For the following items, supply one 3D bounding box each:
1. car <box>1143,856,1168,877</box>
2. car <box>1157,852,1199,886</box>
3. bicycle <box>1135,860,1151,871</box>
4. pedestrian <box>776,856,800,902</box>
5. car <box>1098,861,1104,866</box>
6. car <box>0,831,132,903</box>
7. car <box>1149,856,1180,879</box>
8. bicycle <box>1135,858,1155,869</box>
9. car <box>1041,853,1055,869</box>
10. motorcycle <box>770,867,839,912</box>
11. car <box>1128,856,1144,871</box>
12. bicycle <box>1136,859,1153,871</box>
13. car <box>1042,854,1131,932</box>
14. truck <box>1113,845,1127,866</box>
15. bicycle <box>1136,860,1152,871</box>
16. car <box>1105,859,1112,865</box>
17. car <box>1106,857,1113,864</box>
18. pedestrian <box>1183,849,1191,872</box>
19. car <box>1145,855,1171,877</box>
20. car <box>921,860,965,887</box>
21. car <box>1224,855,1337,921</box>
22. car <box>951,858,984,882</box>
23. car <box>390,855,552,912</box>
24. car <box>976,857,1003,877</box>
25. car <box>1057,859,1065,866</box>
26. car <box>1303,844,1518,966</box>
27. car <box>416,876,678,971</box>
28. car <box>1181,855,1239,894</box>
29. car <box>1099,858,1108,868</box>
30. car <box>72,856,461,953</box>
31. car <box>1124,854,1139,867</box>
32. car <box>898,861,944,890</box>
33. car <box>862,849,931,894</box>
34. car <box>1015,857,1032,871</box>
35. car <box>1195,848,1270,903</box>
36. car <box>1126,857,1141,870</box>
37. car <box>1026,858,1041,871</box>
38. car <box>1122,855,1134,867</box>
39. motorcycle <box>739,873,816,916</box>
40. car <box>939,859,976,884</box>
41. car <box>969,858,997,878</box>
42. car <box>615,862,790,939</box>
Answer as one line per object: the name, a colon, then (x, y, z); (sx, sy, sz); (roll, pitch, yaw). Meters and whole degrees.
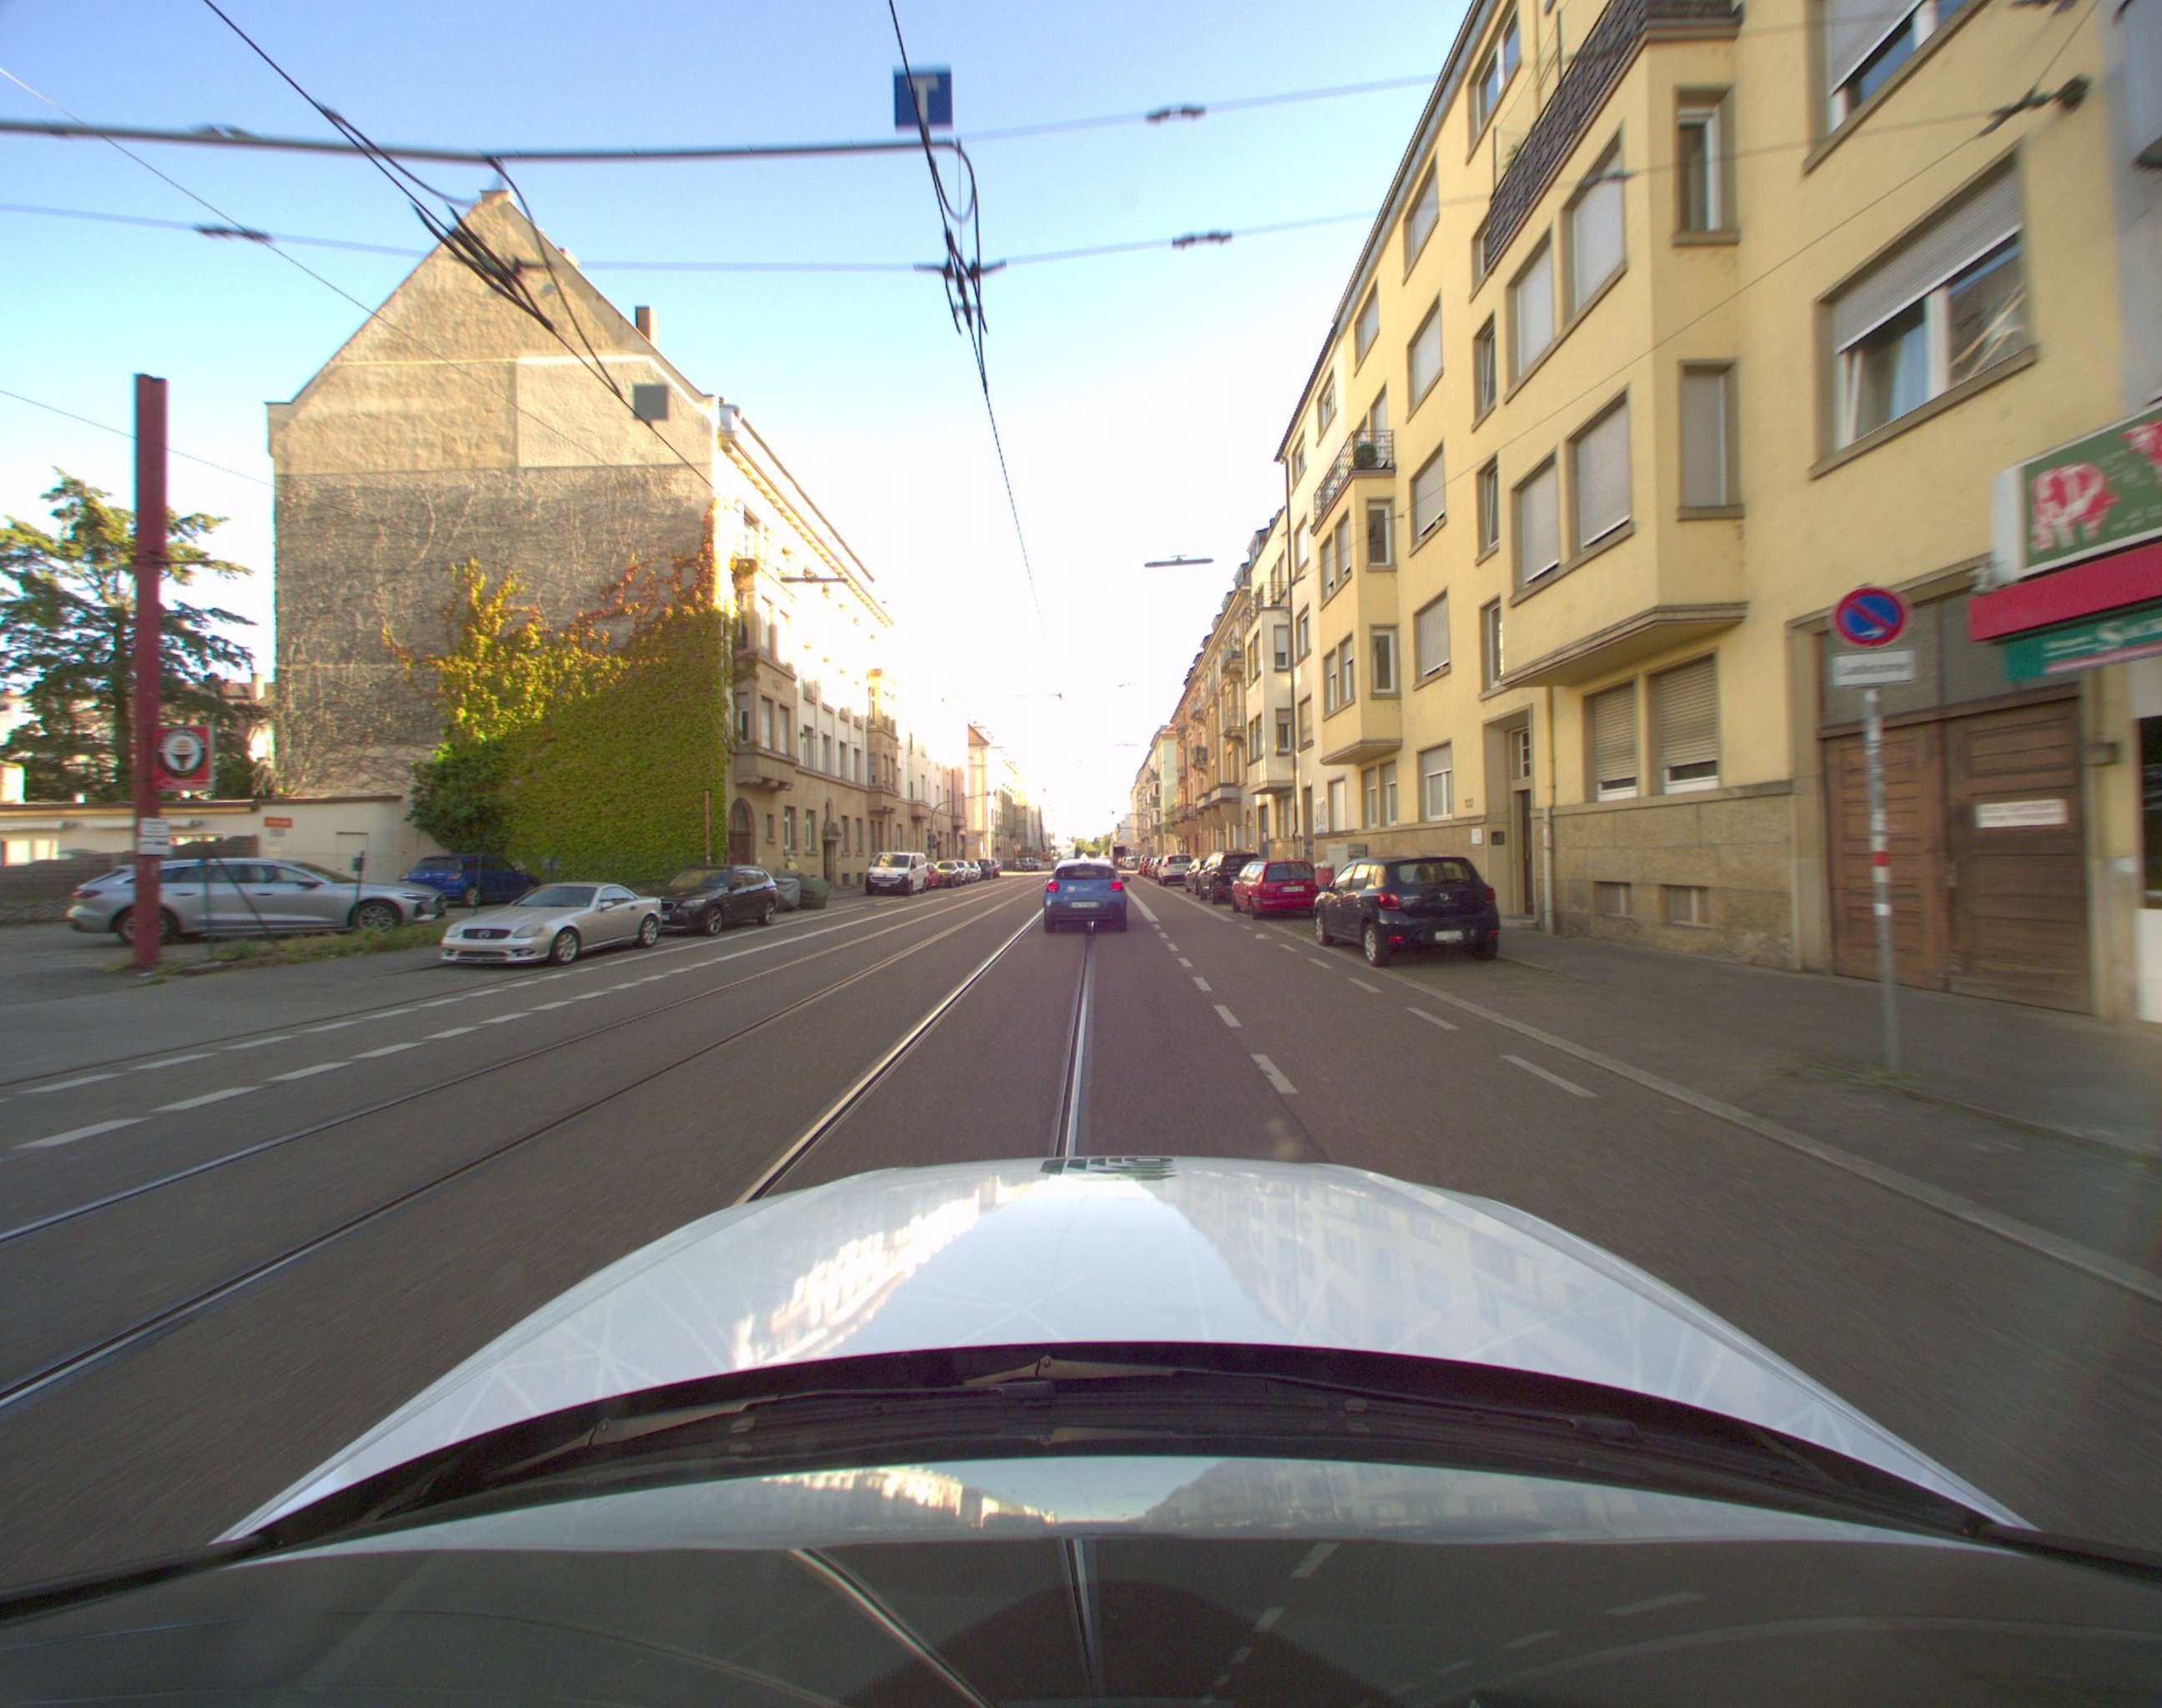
car: (5.922, 1.005, 65.056); (1.746, 1.594, 3.732); (-1, 0, 2)
car: (5.158, 0.791, 43.868); (1.836, 1.691, 4.506); (-1, 0, 2)
bicycle: (7.279, 1.332, 95.639); (1.716, 1.154, 0.469); (-5, -1, 1)
pedestrian: (-11.155, 0.940, 31.000); (0.677, 1.724, 0.616); (-1, -1, 1)
car: (6.292, 3.019, 256.071); (1.819, 1.632, 4.492); (-2, 0, 2)
car: (-27.271, 0.335, 20.578); (1.790, 1.750, 4.002); (-1, 0, 2)
car: (5.649, 0.899, 55.604); (1.649, 1.483, 4.474); (-1, 0, 0)
bicycle: (7.171, 1.046, 91.011); (2.079, 1.154, 0.848); (-4, 0, 1)
car: (-5.452, 1.139, 134.247); (2.138, 2.475, 4.978); (-1, 0, -1)
motorcycle: (-8.924, 1.116, 26.336); (0.875, 1.351, 1.970); (-1, 0, 33)
car: (6.633, 1.144, 98.916); (1.777, 1.632, 4.001); (-2, 0, 2)
bicycle: (7.181, 1.238, 91.696); (1.836, 1.154, 0.469); (-5, -1, 1)
car: (0.158, 0.779, 17.972); (1.728, 1.507, 3.993); (1, 0, 2)
truck: (8.094, 0.279, 169.789); (2.842, 4.083, 11.277); (-2, 0, 3)
bicycle: (7.319, 1.314, 94.781); (1.716, 1.154, 0.469); (-5, -1, 1)
car: (6.797, 2.026, 202.956); (1.759, 1.487, 4.033); (-2, 0, 2)
car: (9.050, 2.047, 261.962); (2.211, 2.284, 4.085); (-2, -1, 2)
pedestrian: (7.980, 0.497, 61.119); (0.511, 1.687, 0.448); (-1, 0, 1)
car: (5.697, 0.893, 60.558); (1.648, 1.513, 4.475); (-1, 0, 1)
car: (-8.041, 1.103, 47.813); (1.777, 1.523, 4.360); (1, 0, 0)
car: (4.943, 0.786, 20.883); (1.852, 1.455, 4.711); (-1, 0, 2)
car: (-8.110, 1.112, 58.292); (1.778, 1.622, 4.178); (1, 0, -1)
car: (-17.850, 0.801, 24.078); (1.746, 1.525, 3.910); (-1, 0, 2)
car: (-7.677, 1.049, 68.406); (1.778, 1.606, 4.395); (1, 0, -1)
car: (-4.829, 2.065, 200.510); (1.819, 1.632, 3.906); (-2, 0, 1)
car: (4.792, 0.667, 12.498); (1.712, 1.491, 4.003); (-2, 0, 1)
car: (-9.142, 1.111, 14.459); (1.777, 1.314, 4.222); (1, 0, 1)
car: (5.180, 0.785, 33.077); (1.731, 1.442, 4.032); (-1, 0, 0)
car: (4.498, 1.849, 164.974); (1.814, 1.894, 4.001); (0, 0, 1)
car: (-14.789, 0.824, 15.286); (4.814, 1.518, 1.980); (-1, 0, -32)
car: (7.176, 0.891, 115.564); (1.651, 1.752, 4.598); (-1, 0, -3)
car: (-8.473, 1.109, 43.373); (1.597, 1.473, 3.647); (1, 0, 1)
car: (-8.479, 0.777, 37.886); (1.966, 1.949, 5.251); (1, 0, 0)
car: (-6.952, 1.188, 99.131); (1.778, 1.690, 4.666); (1, 0, -1)
car: (4.959, 0.674, 27.254); (1.851, 1.665, 4.564); (-1, 0, 3)
car: (6.726, 1.211, 104.356); (1.777, 1.576, 4.328); (-2, 0, 2)
car: (-6.462, 1.420, 110.833); (1.778, 1.627, 4.607); (1, 0, -1)
car: (7.361, 1.146, 127.950); (1.724, 1.827, 4.688); (-2, 0, 2)
motorcycle: (-9.105, 1.193, 24.504); (0.732, 1.171, 2.193); (-1, 0, 31)
car: (-8.028, 1.102, 53.242); (1.766, 1.547, 4.364); (1, 0, -1)
car: (-7.689, 1.087, 64.088); (1.777, 1.553, 3.020); (1, 0, 1)
car: (-8.802, 1.009, 19.473); (1.775, 1.565, 4.614); (1, 0, 3)
